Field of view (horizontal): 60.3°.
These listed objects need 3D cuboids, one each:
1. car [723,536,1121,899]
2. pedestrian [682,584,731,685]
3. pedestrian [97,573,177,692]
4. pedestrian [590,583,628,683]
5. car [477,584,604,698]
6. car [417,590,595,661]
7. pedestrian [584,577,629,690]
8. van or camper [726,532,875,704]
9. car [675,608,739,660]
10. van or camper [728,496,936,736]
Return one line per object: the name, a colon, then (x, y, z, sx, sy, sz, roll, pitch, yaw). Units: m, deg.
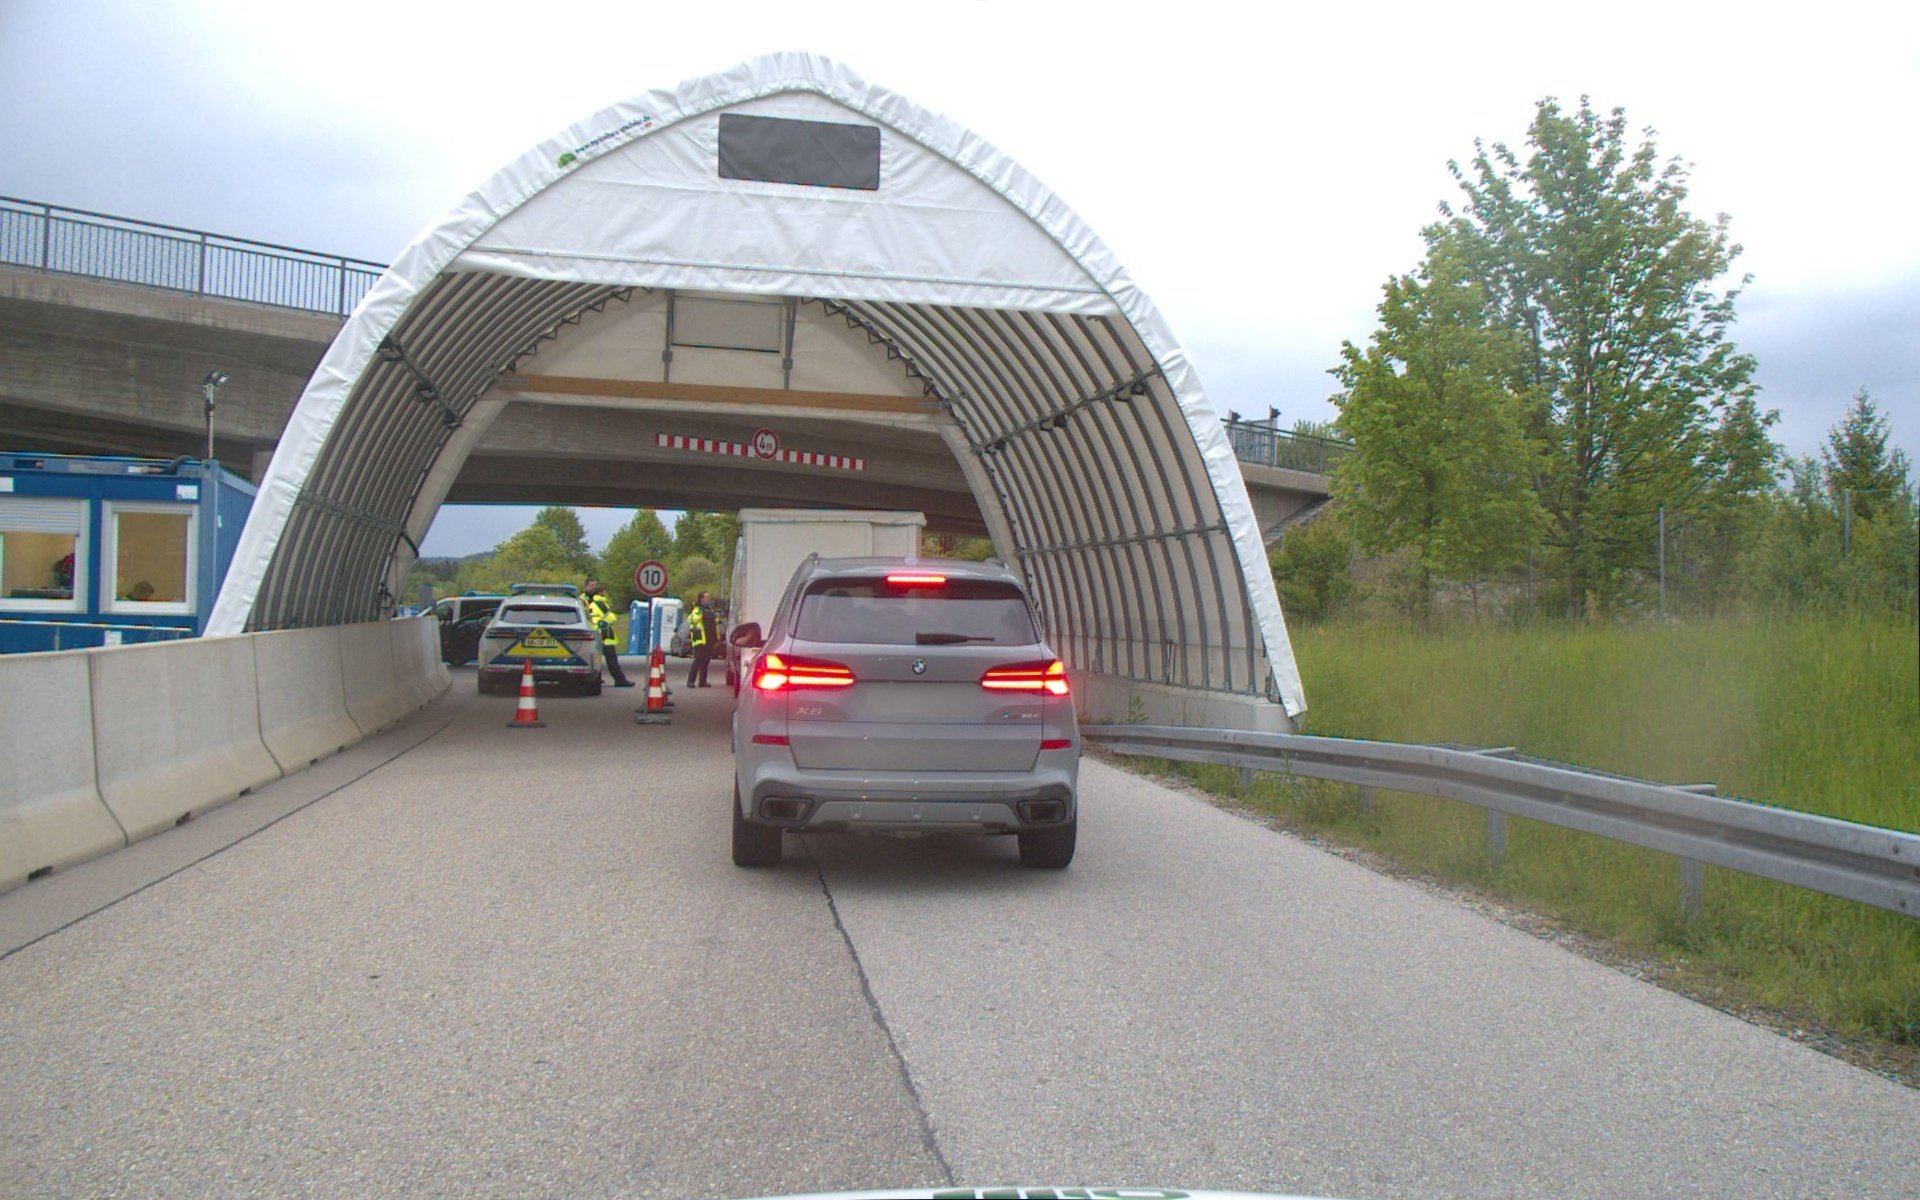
car: (-0.456, 0.592, 10.333, 1.957, 1.796, 3.991, 0, 0, -9)
pedestrian: (-4.459, 0.596, 29.079, 0.742, 1.752, 0.778, 0, -1, -18)
pedestrian: (-9.846, 0.385, 19.795, 0.597, 1.397, 0.628, 0, -1, 8)
pedestrian: (-6.347, 0.586, 29.945, 0.597, 1.784, 0.665, 0, -1, -6)
car: (-6.755, 0.617, 26.644, 1.846, 1.675, 3.984, 0, 0, -15)
car: (-13.384, 0.740, 48.839, 4.703, 2.049, 1.842, 0, -1, 7)
pedestrian: (-6.172, 0.576, 28.839, 0.736, 1.952, 0.760, 0, -1, -15)
van or camper: (-2.762, 0.284, 27.441, 2.065, 2.563, 5.538, 0, 0, -10)
car: (-8.936, 1.163, 58.252, 1.959, 1.752, 3.883, 0, 0, -13)
van or camper: (-1.852, 0.192, 21.380, 2.189, 2.597, 6.597, 0, 0, -9)
